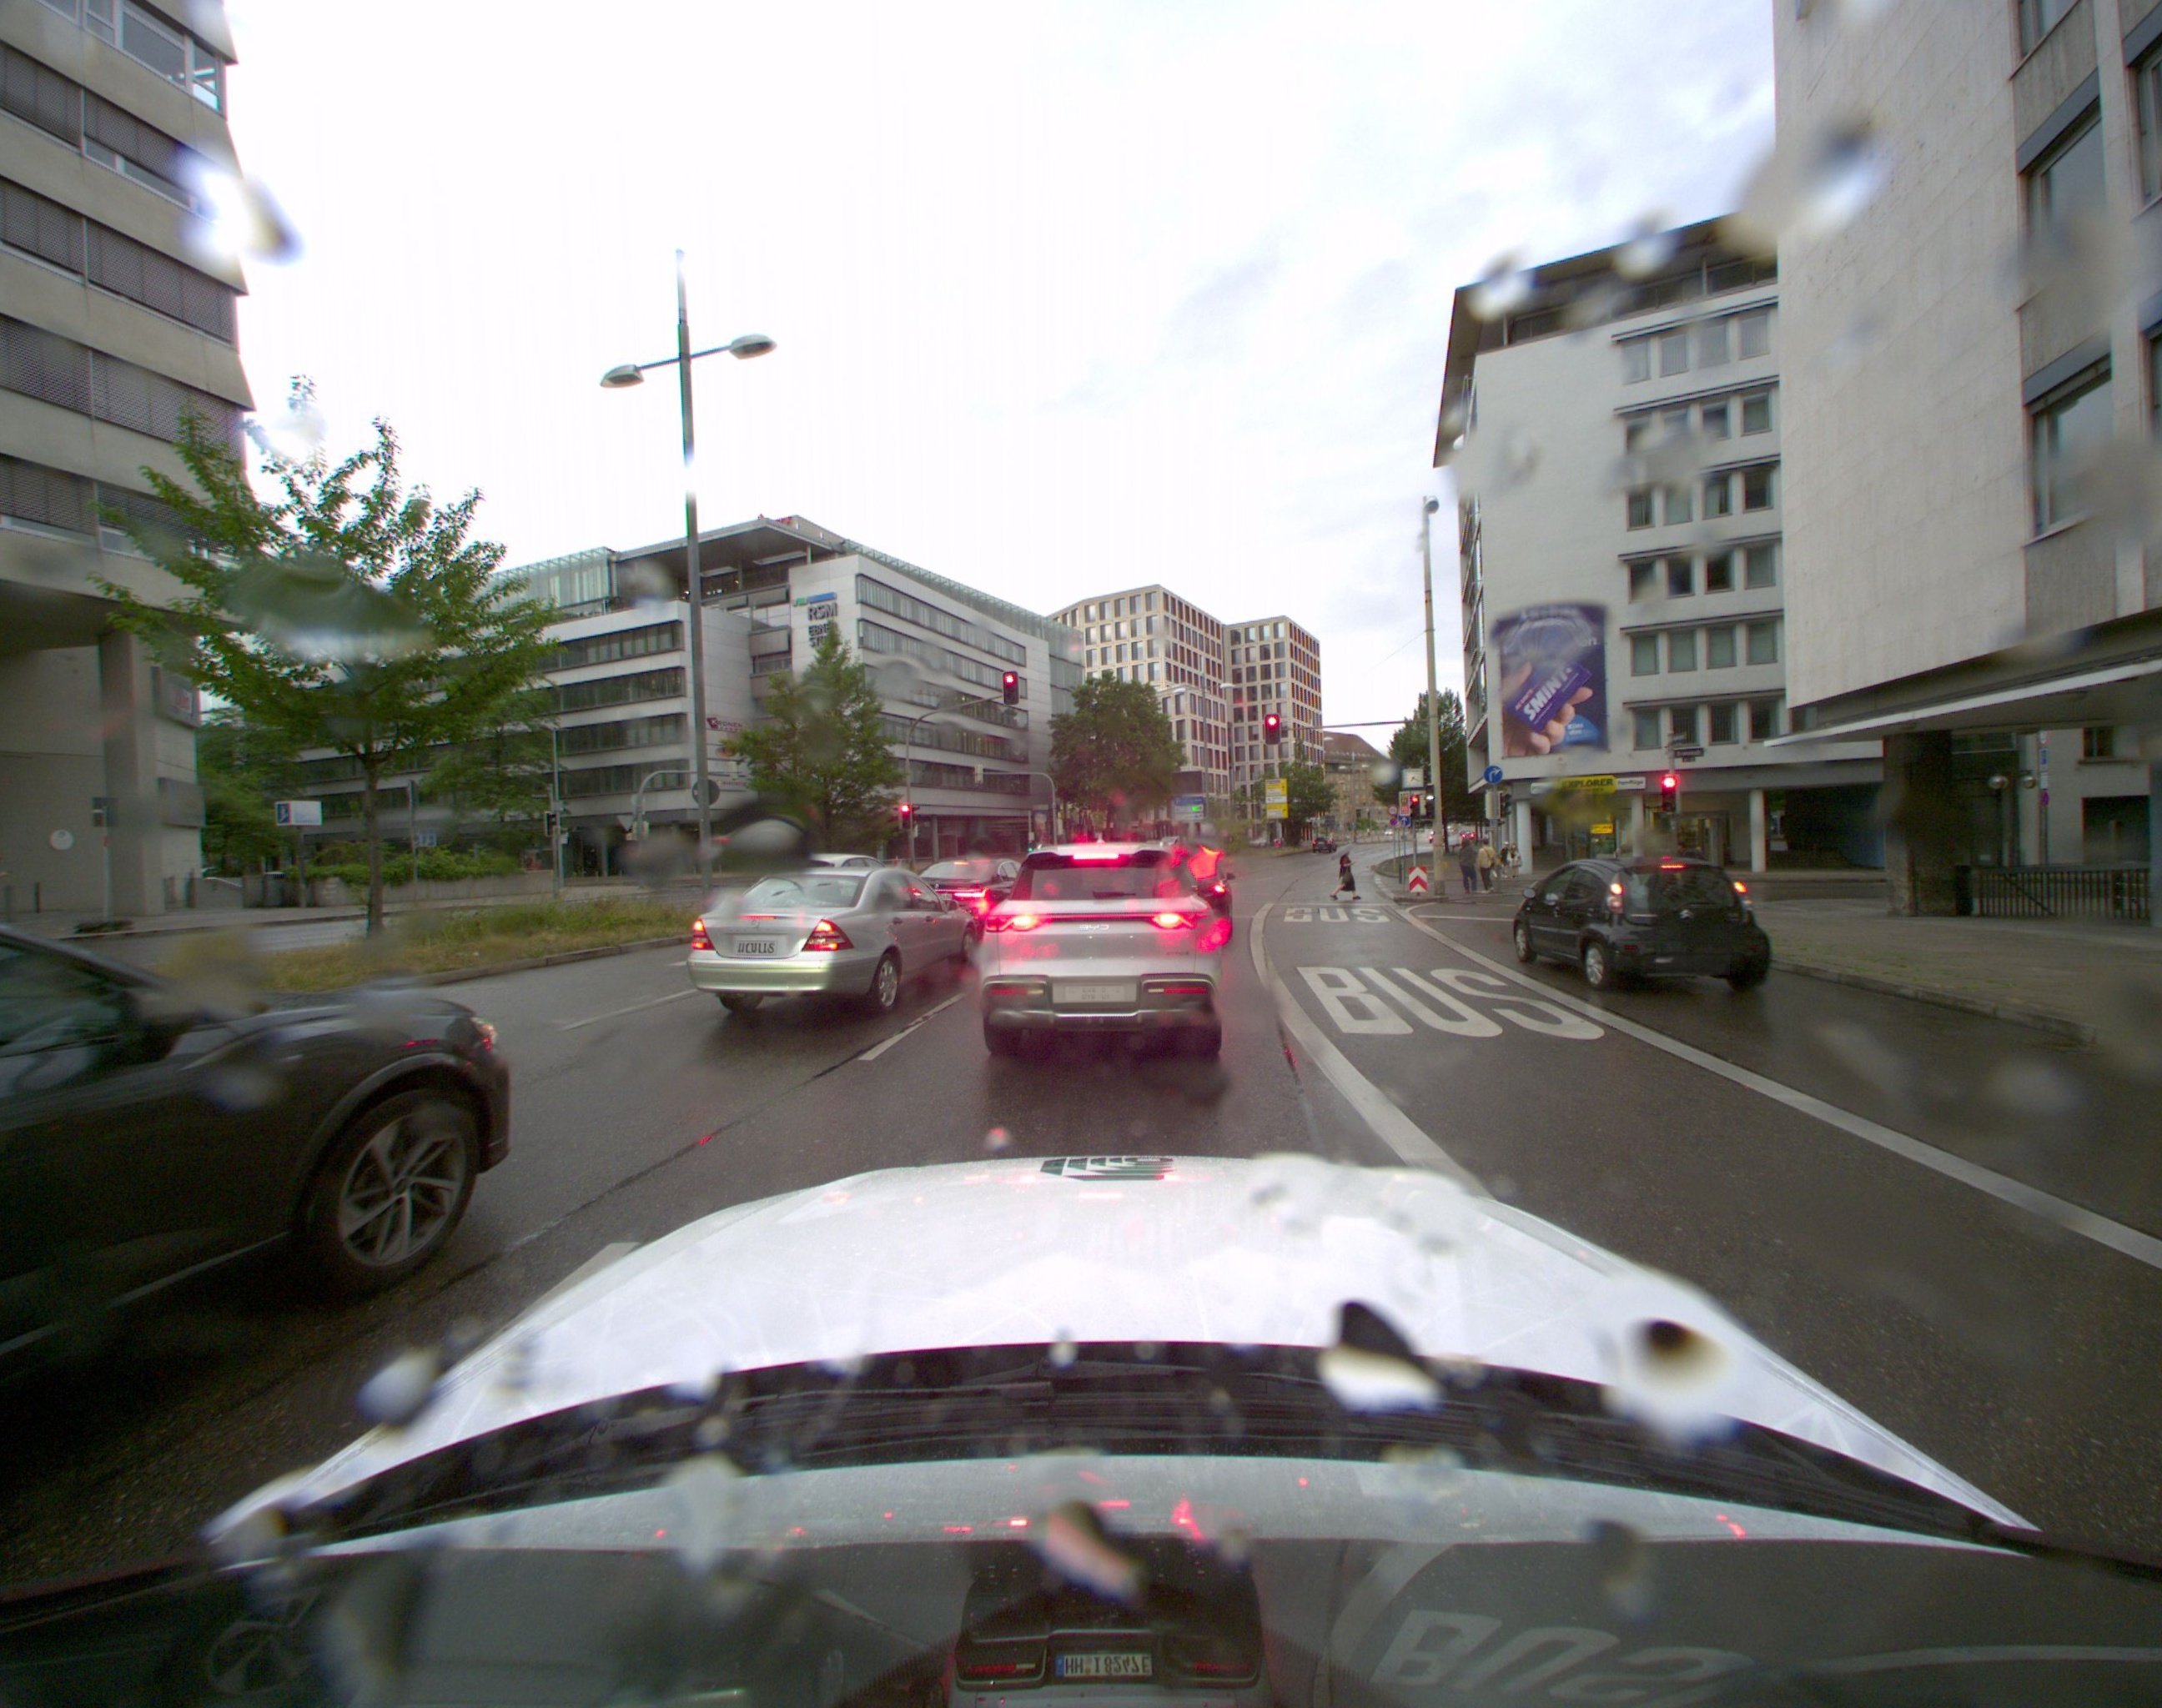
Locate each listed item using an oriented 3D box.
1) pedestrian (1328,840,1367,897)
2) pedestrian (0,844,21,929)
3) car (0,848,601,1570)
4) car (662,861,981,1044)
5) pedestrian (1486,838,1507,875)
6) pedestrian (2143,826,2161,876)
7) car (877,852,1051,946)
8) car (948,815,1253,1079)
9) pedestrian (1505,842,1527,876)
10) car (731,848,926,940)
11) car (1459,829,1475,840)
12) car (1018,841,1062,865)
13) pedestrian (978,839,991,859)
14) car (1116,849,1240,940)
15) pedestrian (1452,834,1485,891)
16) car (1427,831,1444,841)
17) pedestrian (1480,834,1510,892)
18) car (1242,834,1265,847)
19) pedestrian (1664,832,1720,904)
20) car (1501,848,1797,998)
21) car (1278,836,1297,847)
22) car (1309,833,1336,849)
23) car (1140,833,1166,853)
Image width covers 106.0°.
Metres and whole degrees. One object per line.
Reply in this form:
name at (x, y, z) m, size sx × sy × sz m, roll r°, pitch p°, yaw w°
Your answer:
pedestrian at (8.298, 0.433, 25.388) m, size 0.920 × 1.738 × 0.729 m, roll -1°, pitch 0°, yaw -3°
pedestrian at (-23.551, 0.700, 17.371) m, size 0.721 × 1.832 × 0.929 m, roll -1°, pitch 0°, yaw 17°
car at (-3.128, 0.731, 1.535) m, size 1.931 × 1.435 × 4.285 m, roll -2°, pitch 0°, yaw -1°
car at (-2.530, 0.881, 9.150) m, size 1.672 × 1.486 × 4.207 m, roll -1°, pitch 0°, yaw 9°
pedestrian at (18.825, 0.120, 36.930) m, size 0.721 × 1.668 × 0.694 m, roll -1°, pitch -1°, yaw 17°
pedestrian at (38.960, -0.120, 29.263) m, size 0.675 × 1.798 × 0.733 m, roll -2°, pitch -1°, yaw 23°
car at (-2.046, 0.753, 15.551) m, size 1.941 × 1.530 × 4.014 m, roll -1°, pitch 0°, yaw 13°
car at (0.282, 0.609, 7.724) m, size 1.985 × 1.709 × 4.488 m, roll -2°, pitch 0°, yaw 4°
pedestrian at (19.566, 0.219, 36.623) m, size 0.721 × 1.524 × 0.763 m, roll -1°, pitch -1°, yaw 17°
car at (-4.833, 0.694, 16.254) m, size 1.871 × 1.596 × 4.015 m, roll -1°, pitch 0°, yaw 14°
car at (63.697, -3.213, 134.262) m, size 2.027 × 1.765 × 4.384 m, roll 0°, pitch 1°, yaw 30°
car at (-3.222, -0.091, 64.779) m, size 1.976 × 1.705 × 4.022 m, roll -1°, pitch 2°, yaw 21°
pedestrian at (-8.421, -0.431, 71.139) m, size 0.721 × 1.727 × 0.930 m, roll -1°, pitch 0°, yaw 23°
car at (2.032, 0.699, 15.953) m, size 1.941 × 1.530 × 4.014 m, roll -1°, pitch 0°, yaw 13°
pedestrian at (12.424, 0.272, 26.136) m, size 0.806 × 1.798 × 0.714 m, roll -1°, pitch 0°, yaw 17°
car at (53.865, -2.664, 123.852) m, size 1.892 × 1.510 × 4.384 m, roll 0°, pitch 1°, yaw 30°
pedestrian at (13.149, 0.287, 25.882) m, size 0.721 × 1.798 × 0.742 m, roll -1°, pitch 0°, yaw 17°
car at (25.254, -2.005, 119.155) m, size 1.975 × 1.705 × 4.336 m, roll -1°, pitch 2°, yaw 29°
pedestrian at (15.409, 0.346, 20.543) m, size 0.800 × 1.755 × 1.005 m, roll 0°, pitch -1°, yaw -44°
car at (6.569, 0.686, 9.904) m, size 1.652 × 1.473 × 3.494 m, roll -1°, pitch 0°, yaw 11°
car at (34.928, -2.204, 137.708) m, size 1.975 × 1.705 × 4.336 m, roll -1°, pitch 2°, yaw 29°
car at (23.464, -1.248, 78.990) m, size 1.976 × 1.552 × 4.023 m, roll 0°, pitch 1°, yaw 24°
car at (7.992, -1.211, 90.432) m, size 1.723 × 2.161 × 4.516 m, roll 0°, pitch 0°, yaw 20°
